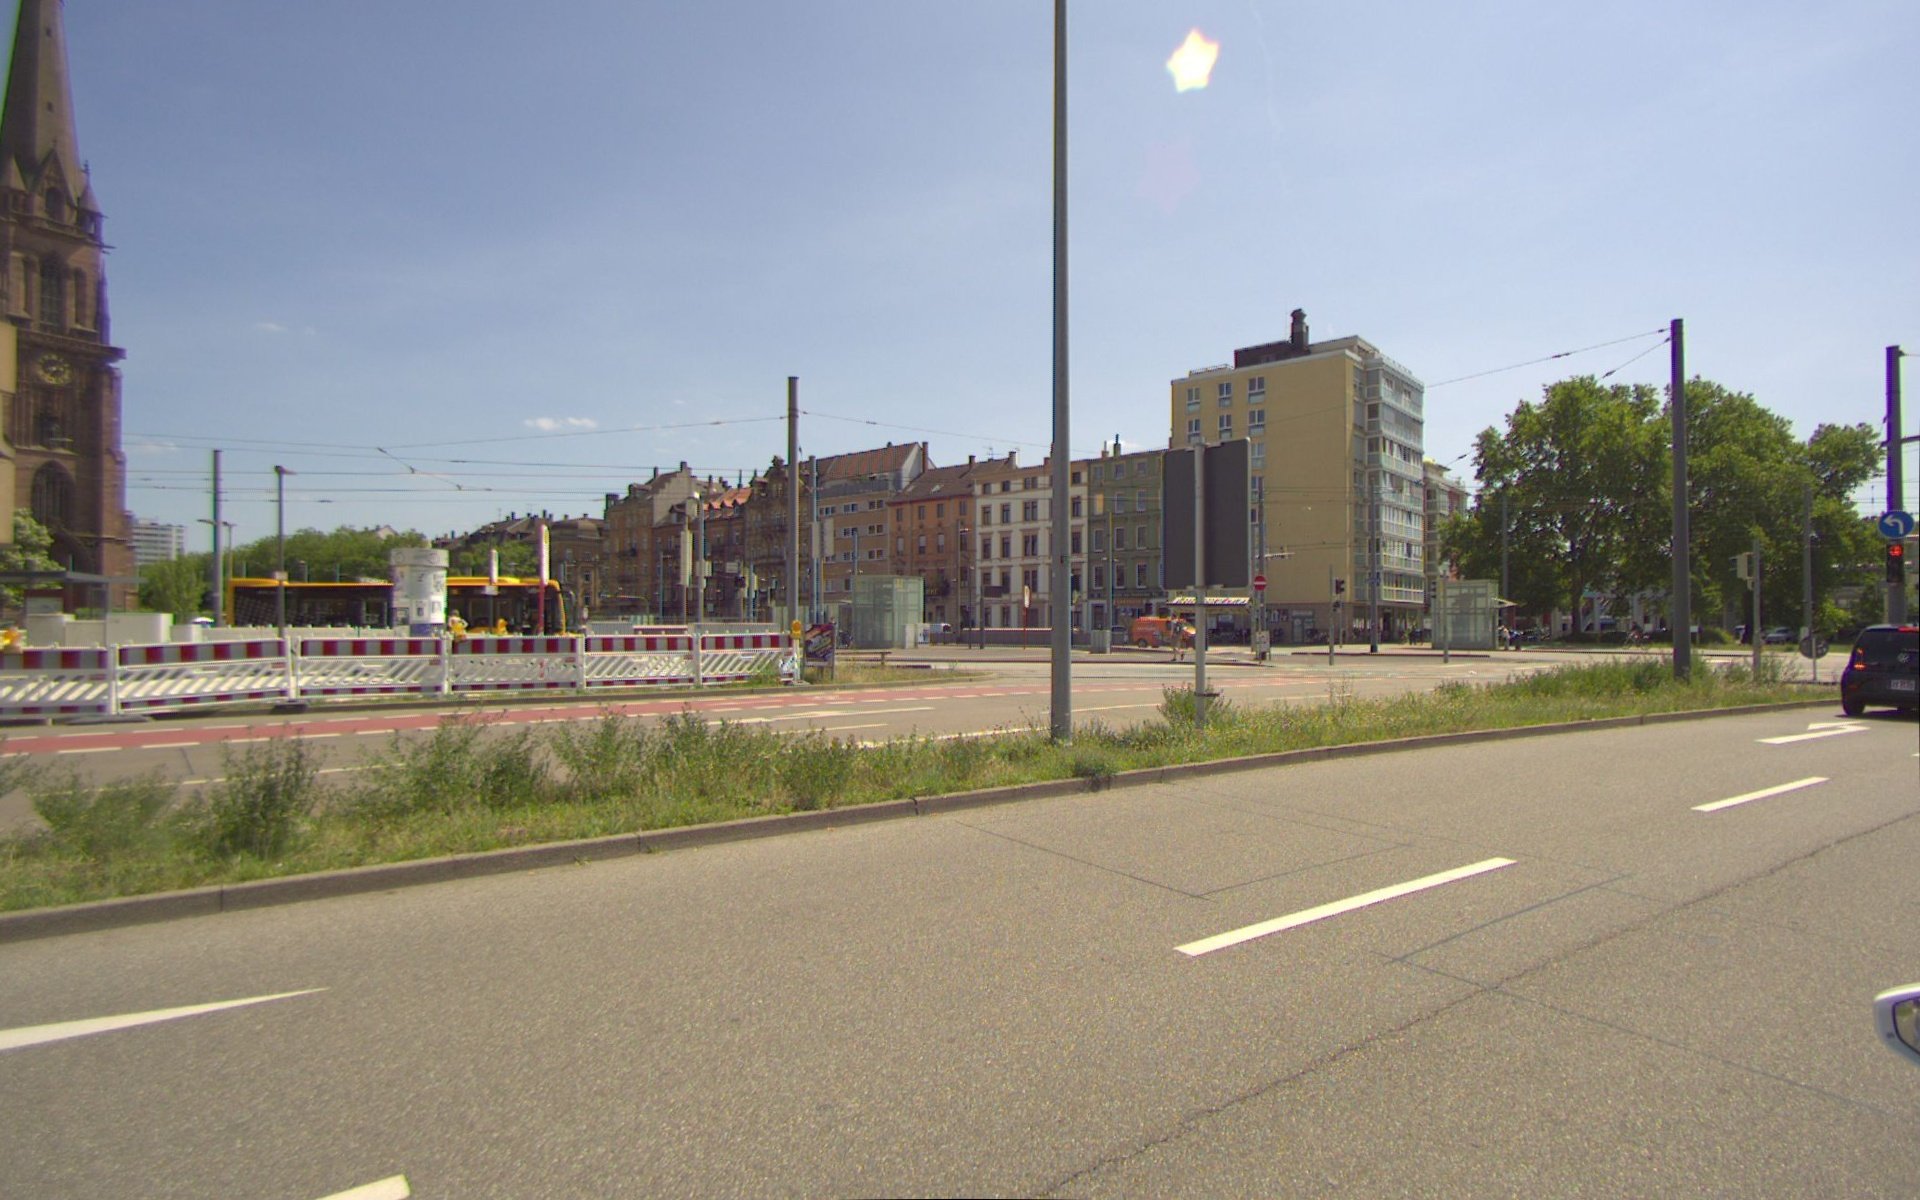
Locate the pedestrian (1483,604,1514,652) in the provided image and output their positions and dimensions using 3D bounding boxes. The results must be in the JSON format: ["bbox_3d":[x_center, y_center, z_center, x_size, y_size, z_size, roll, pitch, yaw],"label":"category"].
[{"bbox_3d":[34.018,1.745,63.450,1.323,2.977,1.206,-1,1,-35],"label":"pedestrian"}]

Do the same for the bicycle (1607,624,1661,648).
[{"bbox_3d":[42.602,2.263,63.496,0.665,1.404,2.753,-1,0,-38],"label":"bicycle"}]

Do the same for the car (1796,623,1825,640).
[{"bbox_3d":[82.816,3.055,97.837,3.389,1.437,1.499,-1,1,-38],"label":"car"}]

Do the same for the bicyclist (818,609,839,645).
[{"bbox_3d":[-7.739,1.580,59.190,0.784,2.040,0.859,-1,1,37],"label":"bicyclist"}]

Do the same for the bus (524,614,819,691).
[{"bbox_3d":[-5.698,0.983,20.518,5.769,1.266,1.234,-1,0,-39],"label":"bus"}]

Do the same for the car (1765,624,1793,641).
[{"bbox_3d":[81.374,3.225,99.780,3.406,1.528,1.414,-1,1,-38],"label":"car"}]

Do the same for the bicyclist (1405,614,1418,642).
[{"bbox_3d":[35.253,2.191,78.466,0.724,2.134,0.777,-1,1,11],"label":"bicyclist"}]

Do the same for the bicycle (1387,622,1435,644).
[{"bbox_3d":[35.234,2.606,78.480,3.256,1.617,0.819,-2,0,12],"label":"bicycle"}]

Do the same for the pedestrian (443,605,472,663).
[{"bbox_3d":[-17.775,1.203,35.522,0.650,2.022,0.611,-1,1,9],"label":"pedestrian"}]

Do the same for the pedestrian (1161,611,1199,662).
[{"bbox_3d":[8.867,1.452,40.437,0.894,1.959,1.170,-1,1,-38],"label":"pedestrian"}]

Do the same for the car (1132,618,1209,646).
[{"bbox_3d":[13.362,2.009,63.957,4.574,1.635,1.665,-1,0,44],"label":"car"}]

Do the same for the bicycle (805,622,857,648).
[{"bbox_3d":[-7.634,2.039,59.118,3.411,1.466,0.874,-1,1,38],"label":"bicycle"}]

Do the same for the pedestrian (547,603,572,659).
[{"bbox_3d":[-14.846,1.137,37.261,0.651,2.022,0.611,-1,1,-1],"label":"pedestrian"}]

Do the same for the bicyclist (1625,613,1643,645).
[{"bbox_3d":[42.598,1.816,63.484,0.621,1.992,0.839,-1,1,-39],"label":"bicyclist"}]

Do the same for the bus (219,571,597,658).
[{"bbox_3d":[-20.560,0.602,38.236,12.021,3.081,3.736,0,-1,-5],"label":"bus"}]

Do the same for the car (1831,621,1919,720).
[{"bbox_3d":[15.896,1.100,16.289,3.955,1.482,1.612,1,-1,-32],"label":"car"}]
